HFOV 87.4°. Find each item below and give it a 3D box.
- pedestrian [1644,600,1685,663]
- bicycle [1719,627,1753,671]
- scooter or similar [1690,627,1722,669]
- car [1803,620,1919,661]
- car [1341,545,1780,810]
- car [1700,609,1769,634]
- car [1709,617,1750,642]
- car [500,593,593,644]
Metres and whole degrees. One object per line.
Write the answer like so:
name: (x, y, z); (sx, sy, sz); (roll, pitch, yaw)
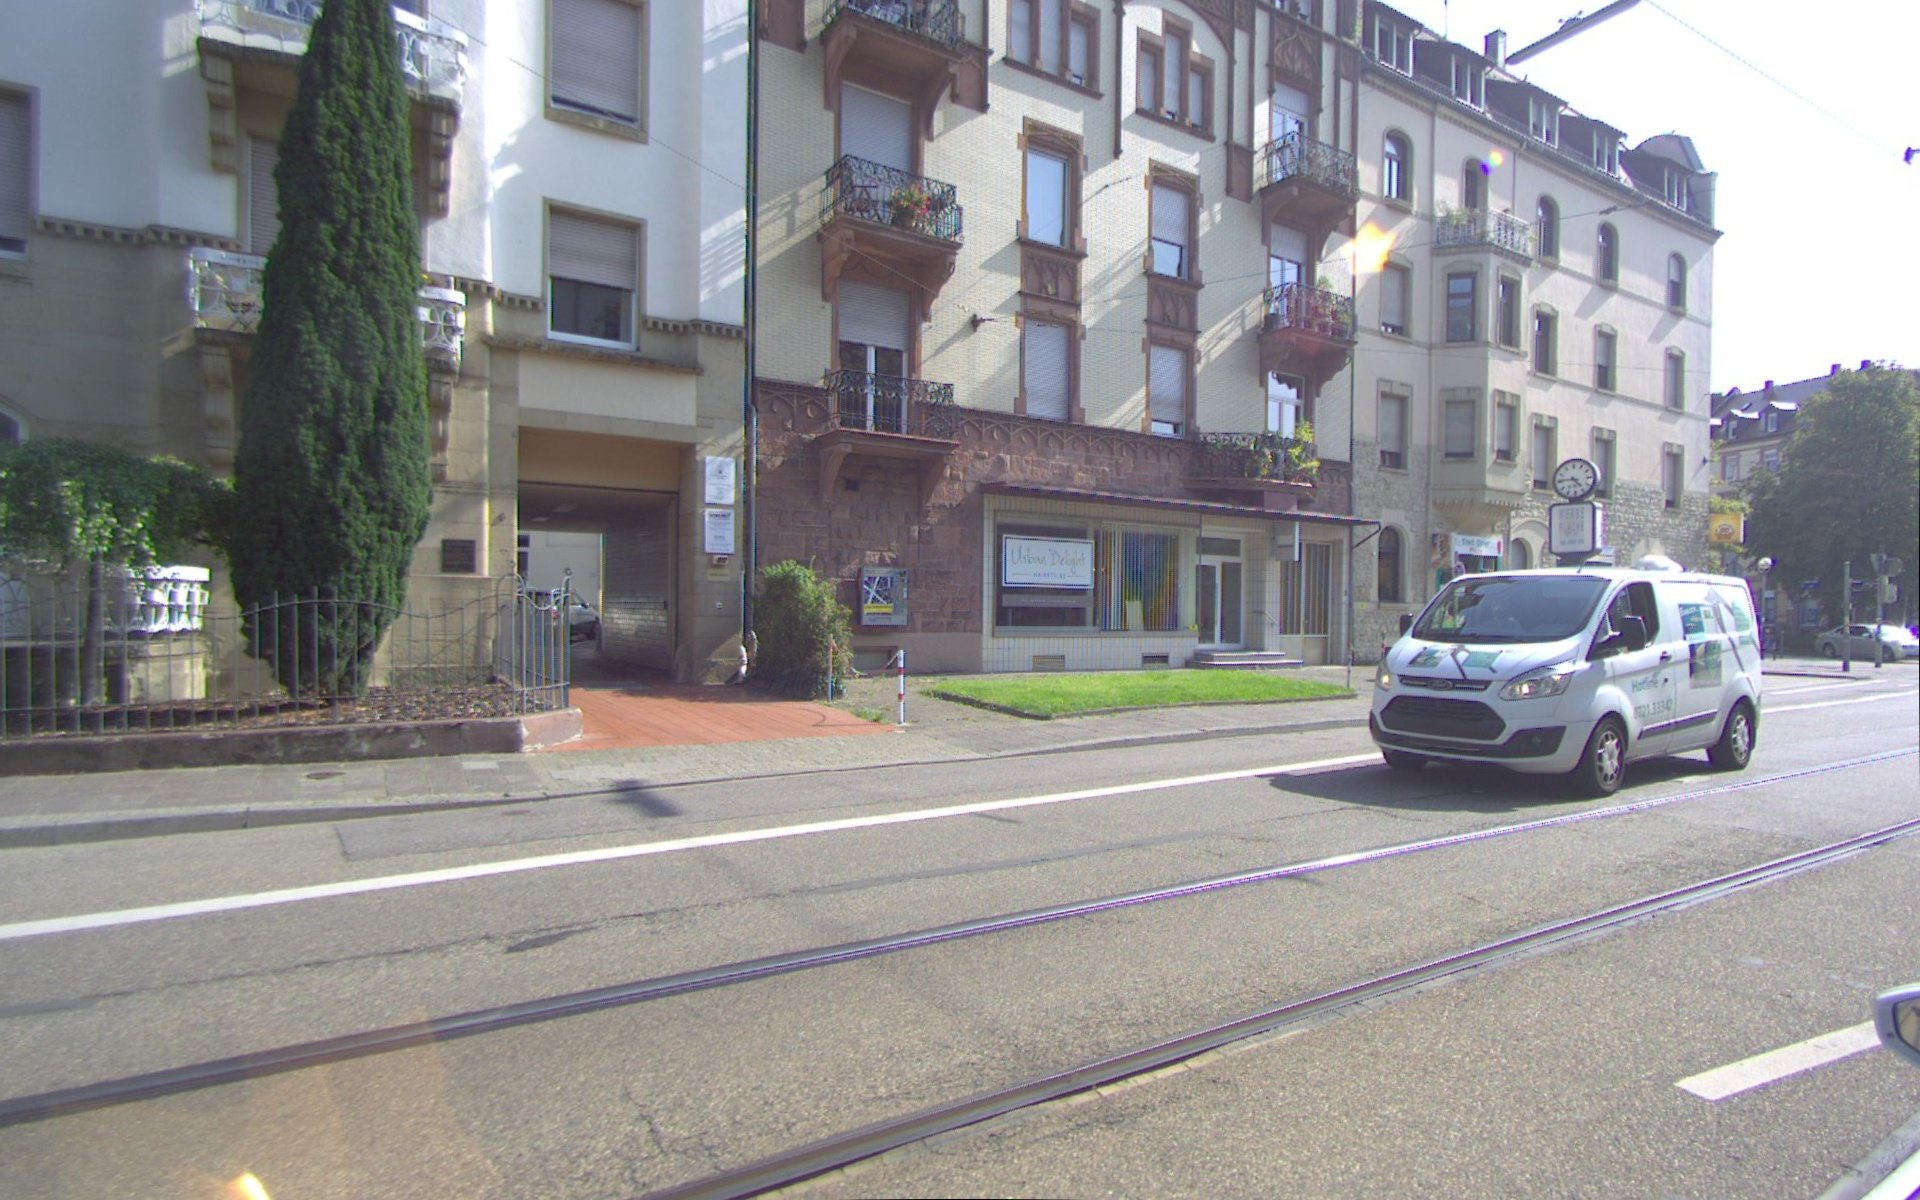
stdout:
pedestrian: (21.385, 0.951, 30.508); (0.822, 1.884, 0.769); (1, 0, -34)
bicycle: (22.887, 1.437, 29.610); (1.843, 1.243, 0.449); (1, -1, -42)
scooter or similar: (22.145, 1.421, 29.820); (0.359, 1.213, 1.035); (1, 0, 12)
car: (36.870, 1.612, 40.594); (1.832, 1.486, 4.789); (1, 0, 5)
car: (6.066, 0.634, 9.934); (4.811, 2.040, 1.980); (1, -1, -35)
car: (60.974, 1.672, 79.163); (1.964, 1.852, 3.993); (1, 0, -10)
car: (48.579, 1.855, 63.412); (1.842, 1.486, 4.763); (0, -1, 40)
car: (-13.523, 0.602, 33.098); (1.739, 1.547, 3.996); (1, -1, -6)
